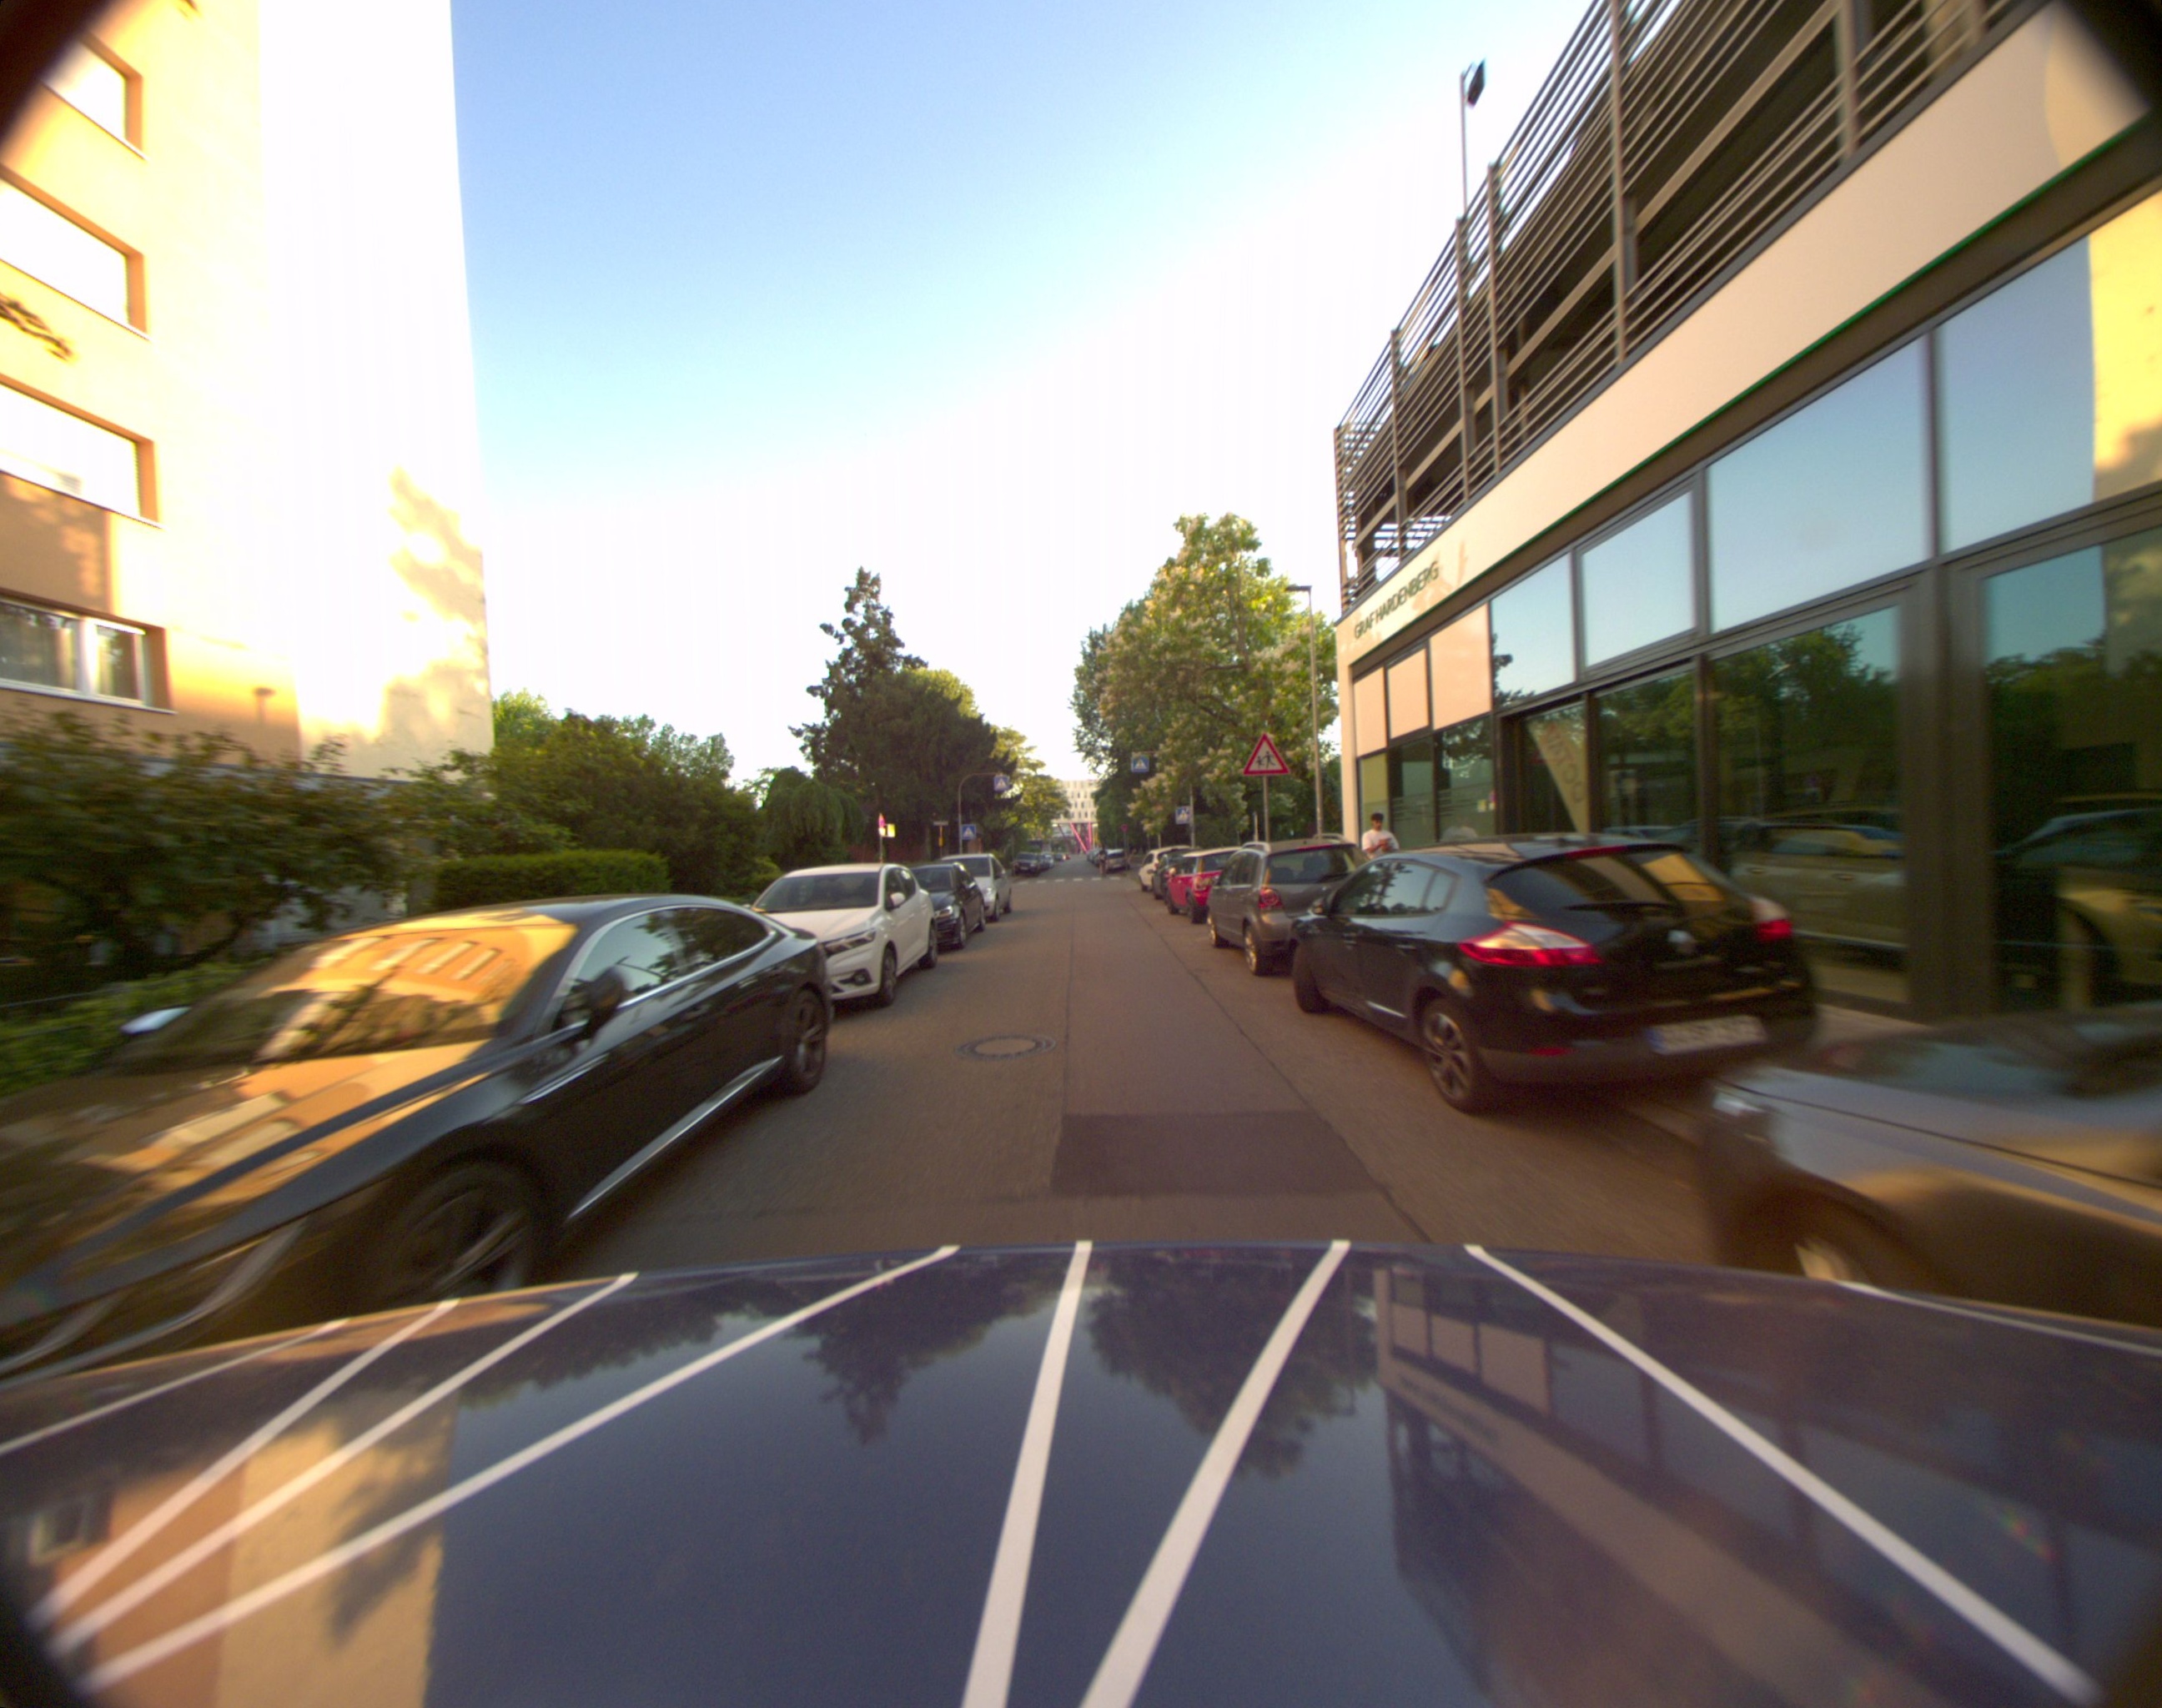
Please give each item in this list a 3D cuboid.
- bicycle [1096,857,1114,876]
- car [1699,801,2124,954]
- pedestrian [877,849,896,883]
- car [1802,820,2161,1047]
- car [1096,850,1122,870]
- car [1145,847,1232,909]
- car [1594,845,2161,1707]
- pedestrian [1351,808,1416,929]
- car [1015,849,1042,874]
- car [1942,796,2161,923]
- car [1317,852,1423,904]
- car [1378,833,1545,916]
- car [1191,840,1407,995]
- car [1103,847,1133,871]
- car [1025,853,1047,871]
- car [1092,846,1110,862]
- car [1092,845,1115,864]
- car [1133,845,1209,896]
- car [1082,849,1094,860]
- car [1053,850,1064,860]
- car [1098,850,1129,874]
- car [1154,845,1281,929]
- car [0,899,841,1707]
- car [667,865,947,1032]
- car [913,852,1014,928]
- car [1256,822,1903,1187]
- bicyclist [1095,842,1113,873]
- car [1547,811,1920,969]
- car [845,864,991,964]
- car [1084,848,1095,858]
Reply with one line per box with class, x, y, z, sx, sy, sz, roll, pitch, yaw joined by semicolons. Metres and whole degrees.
bicycle;1.389;0.714;44.552;0.761;1.090;1.863;-1;0;-6
car;10.888;0.264;10.431;1.702;1.649;3.737;-2;0;0
pedestrian;-10.123;0.614;39.537;0.826;1.716;0.860;1;1;-19
car;8.064;0.507;5.474;1.702;1.506;4.191;-2;0;0
car;2.382;0.554;66.440;1.786;1.468;3.883;-8;0;-3
car;2.990;0.634;22.035;1.666;1.407;4.413;-8;0;-1
car;2.611;0.788;0.344;1.942;1.587;4.205;-3;0;2
pedestrian;4.851;0.231;12.230;0.723;1.867;0.620;-3;0;1
car;-3.742;0.524;54.547;1.786;1.743;3.883;0;0;-3
car;14.041;0.035;9.654;1.702;1.552;3.919;-2;0;0
car;8.039;0.632;21.475;1.597;1.286;3.451;-2;0;-1
car;8.004;0.383;16.397;1.597;1.514;3.876;-2;0;0
car;2.673;0.690;10.274;1.666;1.489;3.884;-8;0;1
car;2.877;0.386;59.458;1.786;1.568;3.883;-8;0;-3
car;-3.912;0.707;66.181;1.786;1.491;3.883;1;0;-3
car;2.643;0.025;101.256;1.964;1.826;3.883;-8;0;-3
car;2.228;0.059;74.857;1.786;1.562;3.883;-8;0;-3
car;3.057;0.554;26.587;1.666;1.505;3.882;-6;0;-6
car;1.270;0.082;137.231;1.786;1.772;4.011;-8;0;-3
car;-4.340;0.131;144.139;1.999;1.739;3.999;-4;0;-2
car;2.302;0.539;54.771;1.786;1.442;3.883;-8;0;-3
car;2.790;0.641;16.434;1.666;1.402;3.926;-8;0;-3
car;-2.714;1.076;3.339;1.814;1.408;4.625;-2;0;0
car;-2.862;0.900;8.941;1.814;1.408;3.895;-2;0;0
car;-2.724;0.785;18.474;1.814;1.566;3.884;-2;0;0
car;2.691;0.670;5.379;1.733;1.395;4.006;-8;0;-1
bicyclist;1.346;0.215;44.500;0.861;1.797;1.016;-2;0;-6
car;8.266;0.390;10.168;1.597;1.640;3.876;-2;0;0
car;-2.745;0.955;13.678;1.721;1.411;4.027;-2;0;0
car;1.654;-0.210;154.772;1.786;1.772;4.011;-8;0;-3
